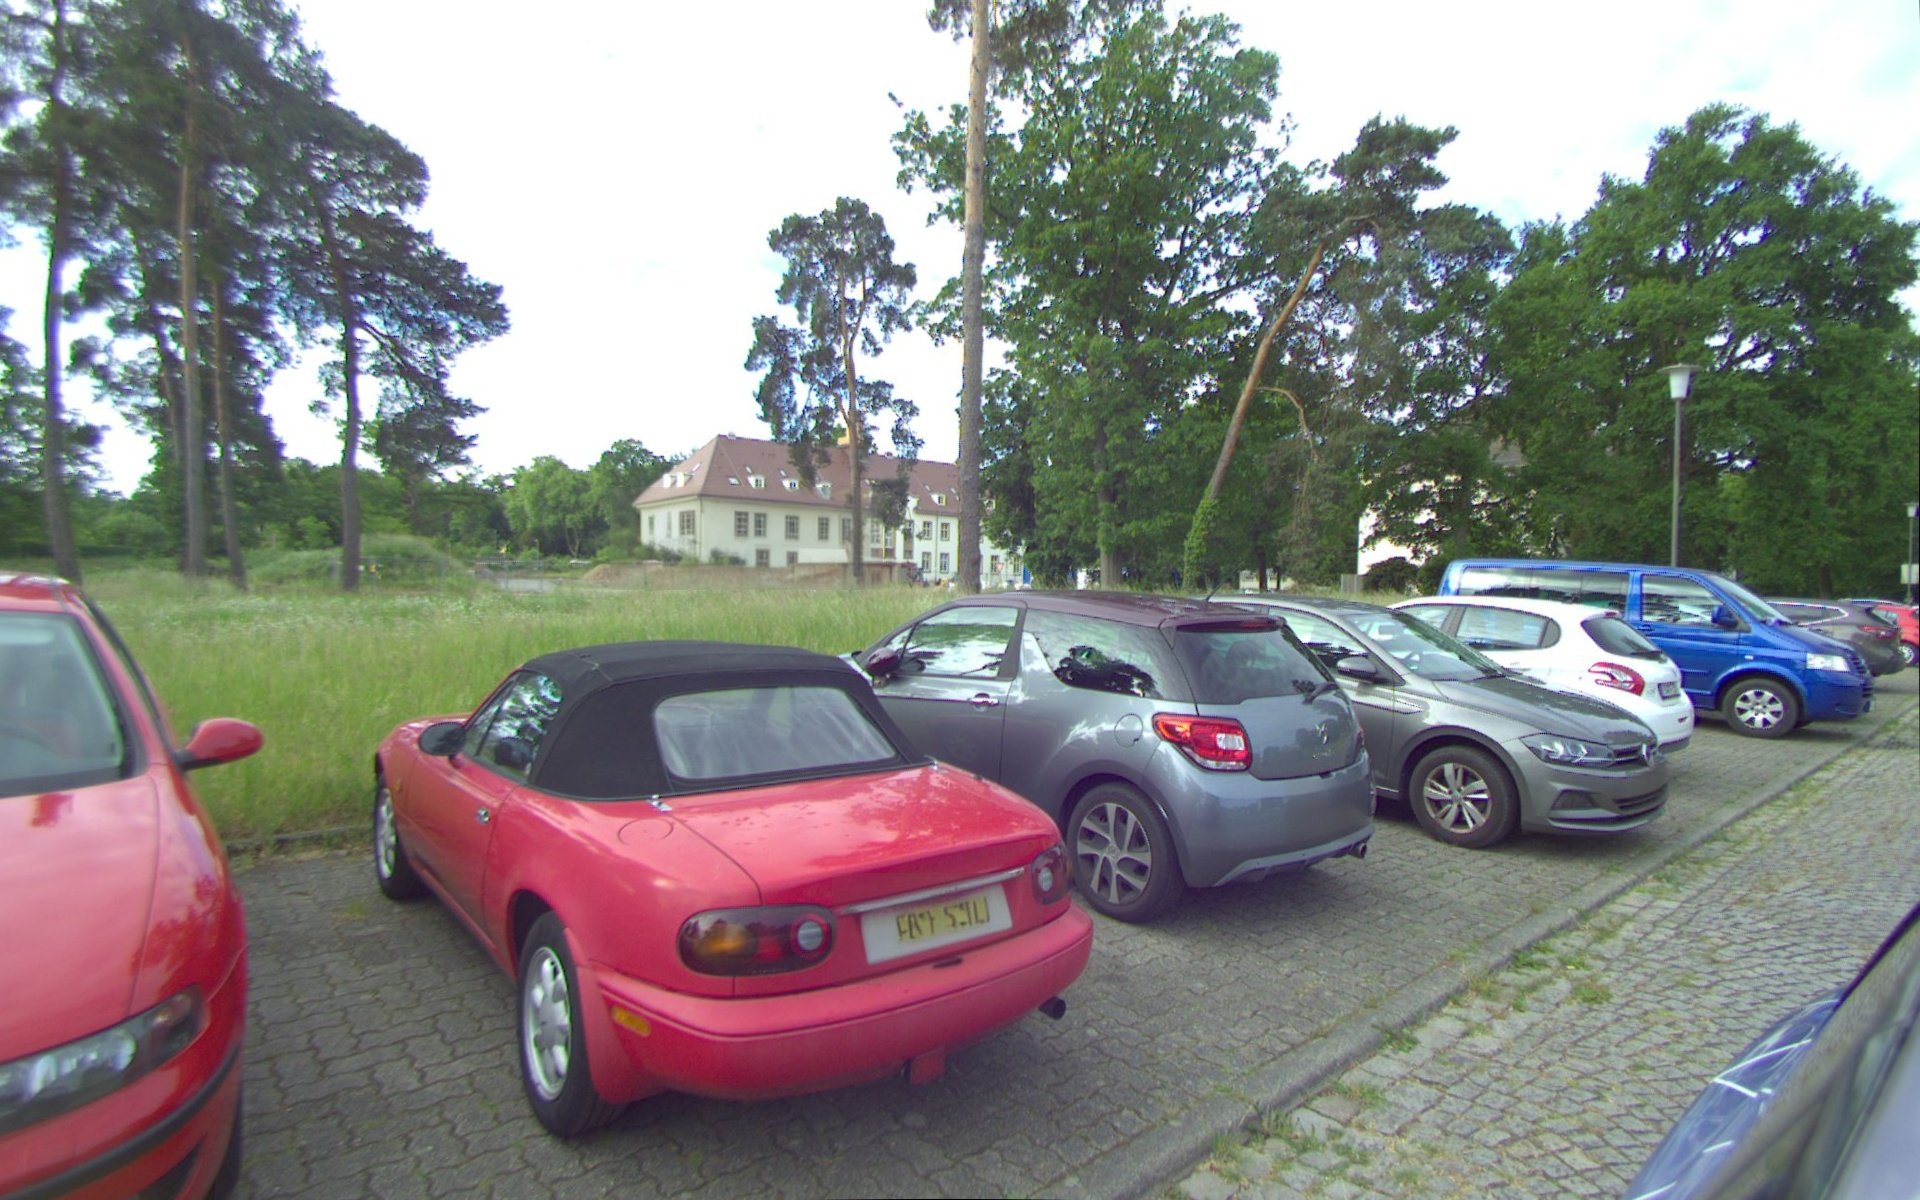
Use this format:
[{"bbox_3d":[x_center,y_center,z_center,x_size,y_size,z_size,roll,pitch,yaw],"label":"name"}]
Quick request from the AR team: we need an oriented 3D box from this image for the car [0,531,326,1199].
[{"bbox_3d":[-3.062,0.569,2.693,1.768,1.470,3.970,0,2,-40],"label":"car"}]

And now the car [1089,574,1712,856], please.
[{"bbox_3d":[2.977,0.582,7.516,1.787,1.474,3.850,0,2,-38],"label":"car"}]

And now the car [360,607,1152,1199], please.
[{"bbox_3d":[-1.149,0.707,3.921,1.468,1.222,3.599,1,1,-40],"label":"car"}]

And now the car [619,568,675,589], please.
[{"bbox_3d":[-30.789,-2.143,99.312,6.170,1.882,2.305,2,2,40],"label":"car"}]

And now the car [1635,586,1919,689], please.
[{"bbox_3d":[15.346,0.600,19.039,1.965,1.630,3.995,0,2,-40],"label":"car"}]

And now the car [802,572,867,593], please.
[{"bbox_3d":[-8.652,-1.203,69.956,4.184,1.433,1.885,0,2,-42],"label":"car"}]

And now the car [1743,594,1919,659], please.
[{"bbox_3d":[22.795,0.628,25.947,1.965,1.549,3.994,0,0,-40],"label":"car"}]

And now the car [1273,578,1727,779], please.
[{"bbox_3d":[4.904,0.571,9.532,1.608,1.470,3.408,0,2,-40],"label":"car"}]

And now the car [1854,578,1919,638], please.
[{"bbox_3d":[33.879,0.310,35.131,1.964,2.038,3.996,0,2,-39],"label":"car"}]

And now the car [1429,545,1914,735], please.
[{"bbox_3d":[8.906,0.321,13.058,1.965,1.963,4.746,0,3,-41],"label":"car"}]

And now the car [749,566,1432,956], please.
[{"bbox_3d":[0.510,0.596,6.036,1.769,1.524,3.782,0,2,-43],"label":"car"}]

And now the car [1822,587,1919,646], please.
[{"bbox_3d":[30.483,0.532,32.452,1.964,1.784,4.007,0,2,-39],"label":"car"}]
